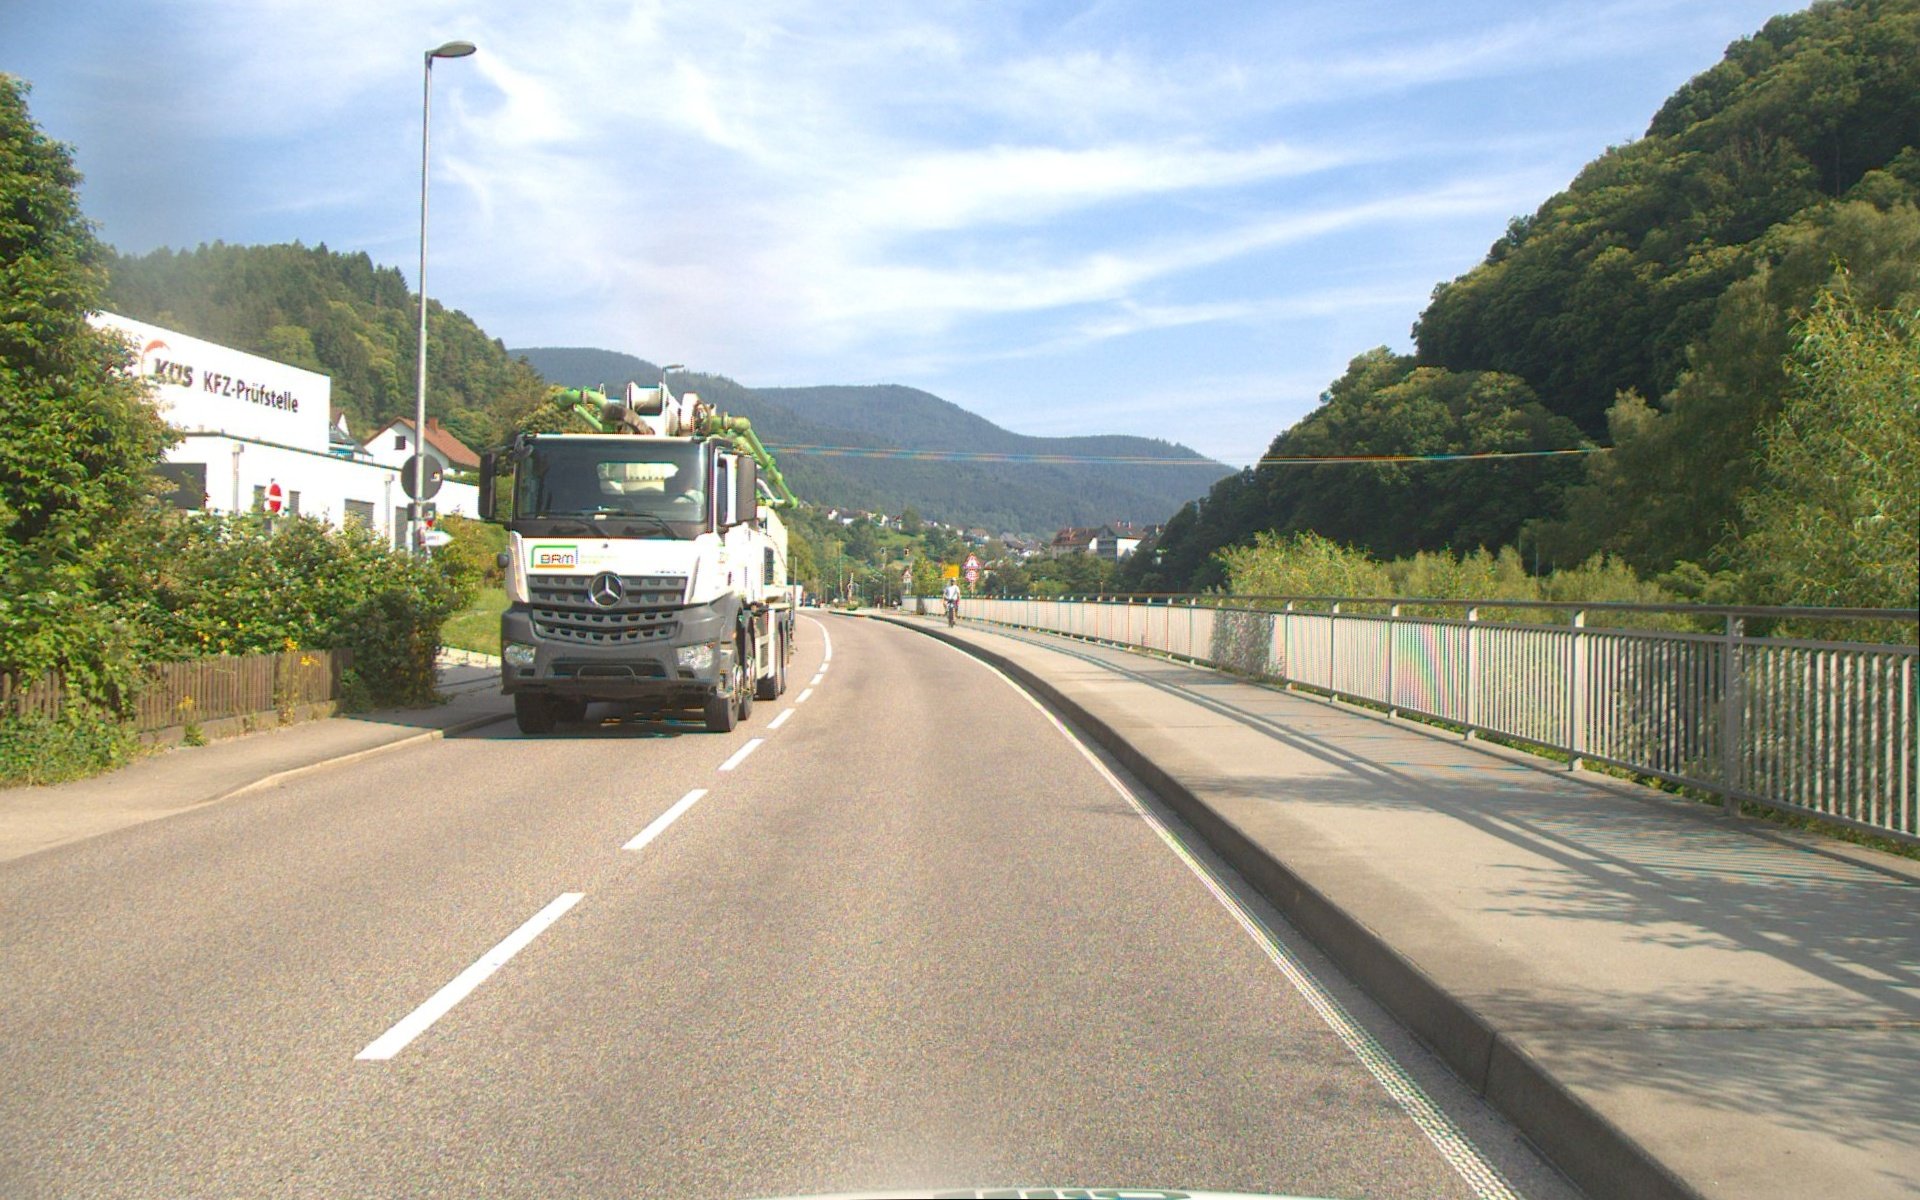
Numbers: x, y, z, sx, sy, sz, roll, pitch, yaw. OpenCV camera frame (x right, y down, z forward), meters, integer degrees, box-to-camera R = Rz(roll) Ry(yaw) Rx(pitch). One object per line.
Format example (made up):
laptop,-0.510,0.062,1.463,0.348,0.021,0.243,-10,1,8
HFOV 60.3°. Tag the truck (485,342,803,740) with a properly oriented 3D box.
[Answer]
truck,-3.720,-0.599,22.347,2.526,4.000,11.301,0,0,-2

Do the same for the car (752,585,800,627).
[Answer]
car,-7.229,0.224,65.298,1.710,1.553,3.996,2,0,-5

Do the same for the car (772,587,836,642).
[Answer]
car,-4.668,0.404,49.932,1.714,1.530,4.188,-1,0,-3
